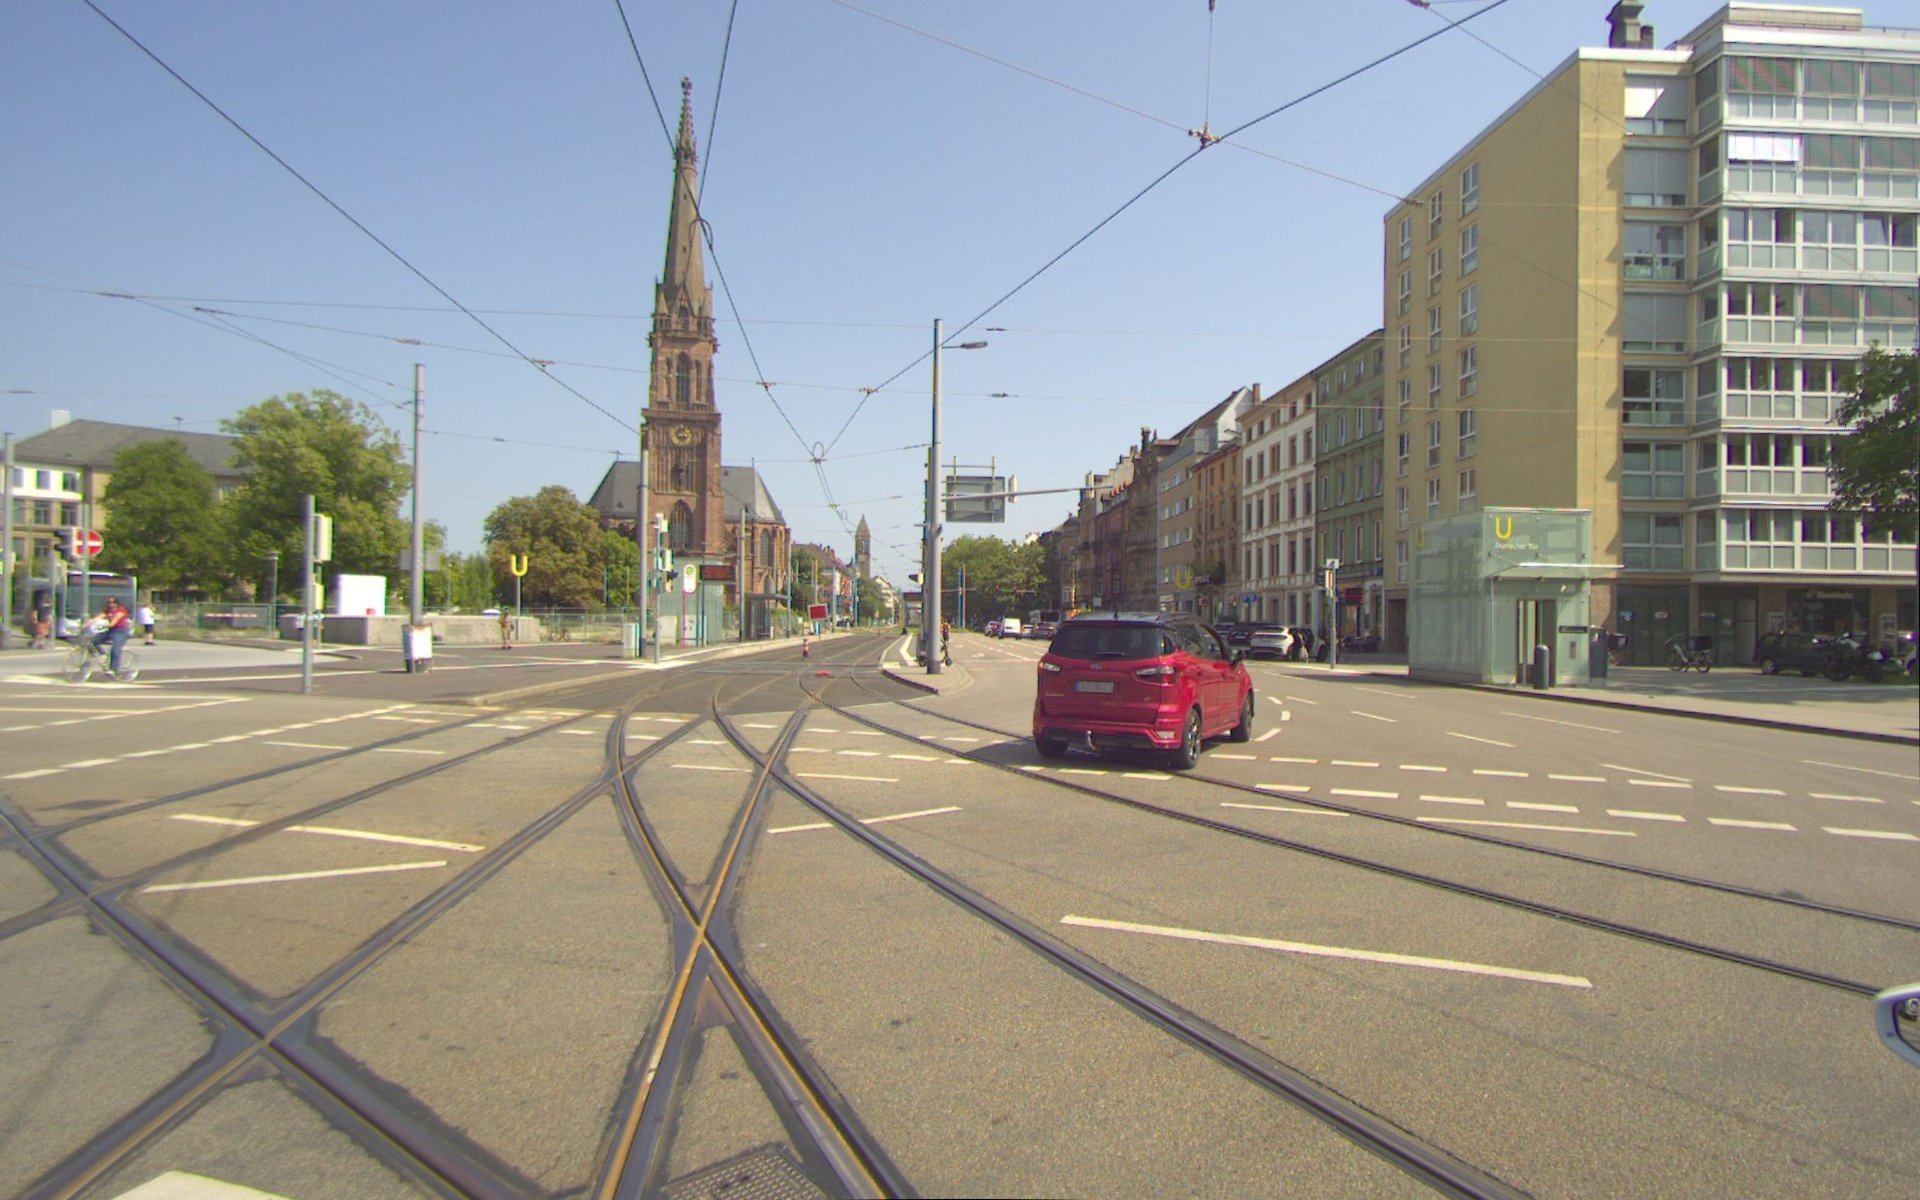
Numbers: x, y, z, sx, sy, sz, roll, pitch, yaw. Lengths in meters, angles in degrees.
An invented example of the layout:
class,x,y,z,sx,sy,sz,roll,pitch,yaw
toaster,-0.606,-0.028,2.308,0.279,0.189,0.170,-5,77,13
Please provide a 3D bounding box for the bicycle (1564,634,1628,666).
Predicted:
class,x,y,z,sx,sy,sz,roll,pitch,yaw
bicycle,23.688,1.850,37.446,1.930,1.158,0.597,0,-1,12

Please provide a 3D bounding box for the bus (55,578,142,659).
class,x,y,z,sx,sy,sz,roll,pitch,yaw
bus,-40.563,0.844,47.132,2.658,3.375,12.598,2,-2,-42

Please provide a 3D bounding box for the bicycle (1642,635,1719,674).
class,x,y,z,sx,sy,sz,roll,pitch,yaw
bicycle,24.460,1.835,34.164,0.779,1.255,2.434,1,-1,-3

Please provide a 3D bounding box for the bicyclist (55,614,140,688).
class,x,y,z,sx,sy,sz,roll,pitch,yaw
bicyclist,-17.685,1.038,20.624,0.860,1.479,0.980,0,-1,1

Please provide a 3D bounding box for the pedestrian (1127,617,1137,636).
class,x,y,z,sx,sy,sz,roll,pitch,yaw
pedestrian,15.644,2.391,91.220,0.685,1.689,1.064,1,-1,-1

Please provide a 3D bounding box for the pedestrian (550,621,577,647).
class,x,y,z,sx,sy,sz,roll,pitch,yaw
pedestrian,-23.559,1.998,59.659,1.669,1.506,0.613,0,-1,33

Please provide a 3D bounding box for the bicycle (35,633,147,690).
class,x,y,z,sx,sy,sz,roll,pitch,yaw
bicycle,-17.727,1.233,20.551,0.602,1.083,1.913,0,-1,1

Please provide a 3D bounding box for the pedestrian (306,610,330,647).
class,x,y,z,sx,sy,sz,roll,pitch,yaw
pedestrian,-30.734,1.348,48.073,0.668,1.751,0.781,0,-1,37

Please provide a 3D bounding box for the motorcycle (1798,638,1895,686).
class,x,y,z,sx,sy,sz,roll,pitch,yaw
motorcycle,22.918,1.576,26.022,0.894,1.152,2.114,0,-1,10

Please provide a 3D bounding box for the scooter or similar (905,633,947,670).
class,x,y,z,sx,sy,sz,roll,pitch,yaw
scooter or similar,-1.100,1.670,32.398,1.317,1.164,0.709,1,-1,-5

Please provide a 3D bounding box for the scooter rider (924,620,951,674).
class,x,y,z,sx,sy,sz,roll,pitch,yaw
scooter rider,-0.737,1.503,32.379,0.759,1.695,0.778,1,-1,-8

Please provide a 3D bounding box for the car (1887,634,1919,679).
class,x,y,z,sx,sy,sz,roll,pitch,yaw
car,33.550,1.909,33.098,1.870,1.490,4.244,1,-1,-5

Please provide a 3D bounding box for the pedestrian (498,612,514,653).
class,x,y,z,sx,sy,sz,roll,pitch,yaw
pedestrian,-19.148,1.361,42.378,0.565,1.681,0.797,1,1,-21

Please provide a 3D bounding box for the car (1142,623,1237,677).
class,x,y,z,sx,sy,sz,roll,pitch,yaw
car,6.612,1.401,29.340,1.761,1.450,4.000,1,-1,-1

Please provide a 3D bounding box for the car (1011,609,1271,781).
class,x,y,z,sx,sy,sz,roll,pitch,yaw
car,2.308,0.937,11.856,1.737,1.639,4.074,0,-1,30

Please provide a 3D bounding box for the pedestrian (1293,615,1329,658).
class,x,y,z,sx,sy,sz,roll,pitch,yaw
pedestrian,14.352,1.486,41.028,1.025,1.726,0.897,3,-1,-29

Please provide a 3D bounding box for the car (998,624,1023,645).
class,x,y,z,sx,sy,sz,roll,pitch,yaw
car,4.485,3.076,89.160,1.761,1.803,3.999,1,-2,-4

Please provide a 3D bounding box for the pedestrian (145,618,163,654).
class,x,y,z,sx,sy,sz,roll,pitch,yaw
pedestrian,-35.076,1.570,43.704,0.572,1.548,0.593,3,-3,-40

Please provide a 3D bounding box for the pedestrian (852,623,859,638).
class,x,y,z,sx,sy,sz,roll,pitch,yaw
pedestrian,-12.233,3.594,117.764,0.815,1.774,0.720,1,-2,-2

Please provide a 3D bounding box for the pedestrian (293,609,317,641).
class,x,y,z,sx,sy,sz,roll,pitch,yaw
pedestrian,-32.606,1.248,49.986,0.668,1.568,0.782,0,-2,37

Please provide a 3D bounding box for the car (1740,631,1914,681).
class,x,y,z,sx,sy,sz,roll,pitch,yaw
car,28.359,1.796,33.063,1.870,1.490,4.244,1,-1,-5

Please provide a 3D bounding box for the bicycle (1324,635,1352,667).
class,x,y,z,sx,sy,sz,roll,pitch,yaw
bicycle,16.098,2.176,42.821,0.465,1.313,1.792,0,-2,0

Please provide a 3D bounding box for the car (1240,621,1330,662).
class,x,y,z,sx,sy,sz,roll,pitch,yaw
car,13.735,1.749,42.355,3.753,1.520,1.787,4,-1,-39

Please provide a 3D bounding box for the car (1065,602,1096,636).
class,x,y,z,sx,sy,sz,roll,pitch,yaw
car,10.820,1.696,90.493,2.261,2.927,5.600,0,-1,1

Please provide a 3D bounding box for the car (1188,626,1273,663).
class,x,y,z,sx,sy,sz,roll,pitch,yaw
car,13.495,2.170,49.967,4.635,1.736,2.017,2,-2,-45

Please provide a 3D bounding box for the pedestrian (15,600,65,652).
class,x,y,z,sx,sy,sz,roll,pitch,yaw
pedestrian,-32.195,0.924,35.167,0.770,1.803,0.959,1,-2,0

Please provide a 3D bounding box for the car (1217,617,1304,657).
class,x,y,z,sx,sy,sz,roll,pitch,yaw
car,13.697,1.655,45.651,4.363,1.710,1.961,2,-1,-44

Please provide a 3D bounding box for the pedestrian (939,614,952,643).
class,x,y,z,sx,sy,sz,roll,pitch,yaw
pedestrian,-0.892,1.774,61.994,0.748,1.774,1.069,1,-2,-3

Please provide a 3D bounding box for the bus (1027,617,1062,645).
class,x,y,z,sx,sy,sz,roll,pitch,yaw
bus,9.603,3.522,115.310,2.493,3.072,12.433,1,-2,-3

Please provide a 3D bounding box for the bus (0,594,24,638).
class,x,y,z,sx,sy,sz,roll,pitch,yaw
bus,-74.071,1.131,76.799,12.253,3.072,2.529,1,1,42
